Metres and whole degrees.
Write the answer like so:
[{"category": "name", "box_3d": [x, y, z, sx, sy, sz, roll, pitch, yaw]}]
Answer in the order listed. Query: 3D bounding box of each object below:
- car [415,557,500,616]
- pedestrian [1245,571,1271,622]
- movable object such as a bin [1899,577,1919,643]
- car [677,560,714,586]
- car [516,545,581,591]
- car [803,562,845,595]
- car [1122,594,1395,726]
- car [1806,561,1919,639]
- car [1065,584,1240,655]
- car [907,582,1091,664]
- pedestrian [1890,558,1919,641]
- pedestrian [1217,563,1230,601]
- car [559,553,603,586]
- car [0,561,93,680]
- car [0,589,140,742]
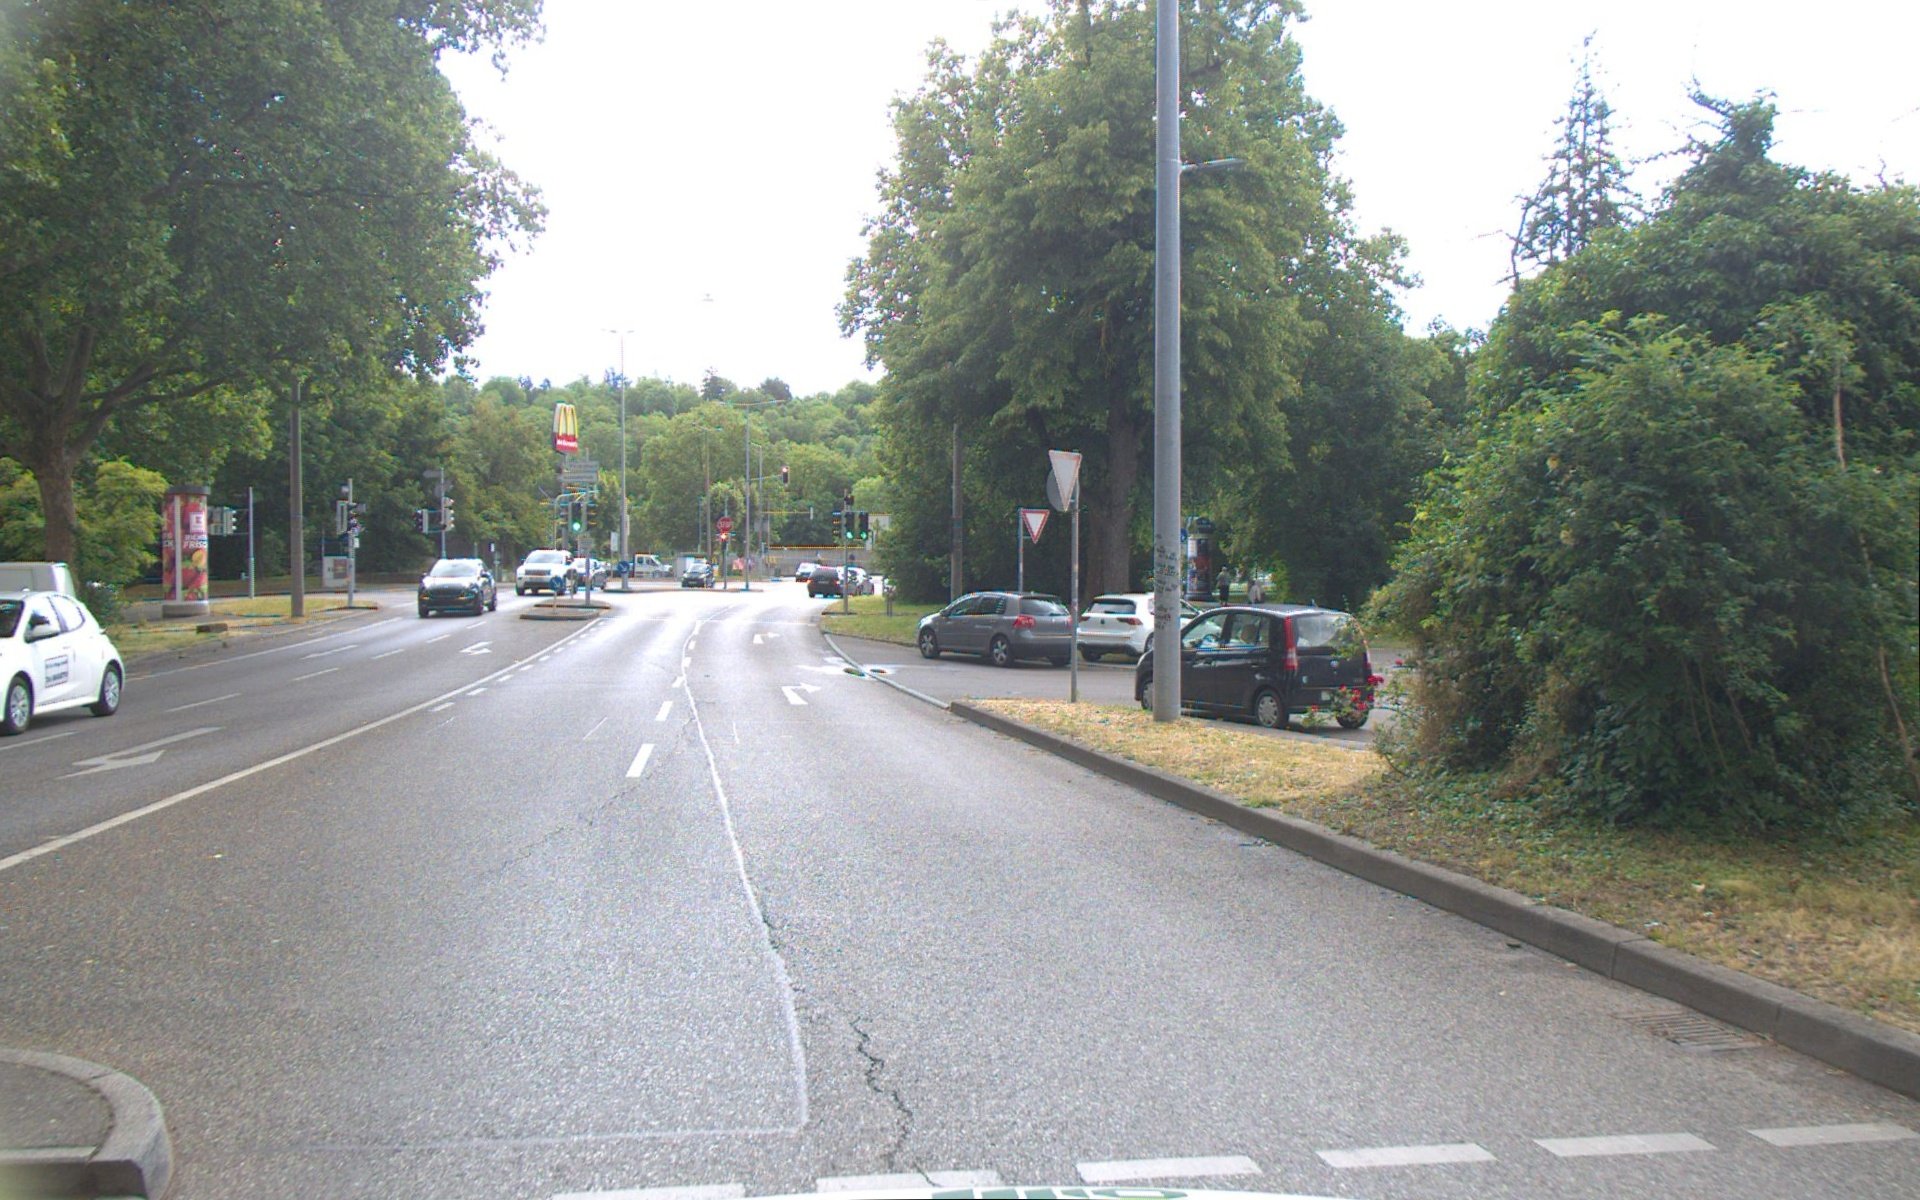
[{"category": "car", "box_3d": [-15.372, -0.467, 50.782, 1.763, 1.614, 4.407, -3, 2, -8]}, {"category": "pedestrian", "box_3d": [9.293, -0.109, 51.596, 0.670, 1.578, 0.742, 0, 1, -3]}, {"category": "movable object such as a bin", "box_3d": [20.501, 0.205, 34.545, 1.192, 1.368, 0.995, -1, 0, -2]}, {"category": "car", "box_3d": [-16.278, -1.669, 102.023, 1.535, 1.553, 3.192, 0, 2, 4]}, {"category": "car", "box_3d": [-16.937, -1.349, 68.248, 1.874, 1.794, 4.747, -1, 2, -6]}, {"category": "car", "box_3d": [-6.581, -1.044, 80.472, 1.786, 1.535, 4.573, 0, 1, -2]}, {"category": "car", "box_3d": [3.703, 0.688, 21.028, 1.552, 1.428, 3.459, -1, 2, -30]}, {"category": "car", "box_3d": [20.750, -0.018, 36.485, 3.341, 1.659, 1.625, -1, 0, 4]}, {"category": "car", "box_3d": [4.247, 0.382, 35.941, 1.732, 1.404, 4.238, 1, 2, 40]}, {"category": "car", "box_3d": [0.754, 0.430, 34.546, 1.715, 1.453, 4.059, -1, 3, -37]}, {"category": "pedestrian", "box_3d": [20.541, -0.018, 35.597, 0.673, 1.759, 0.611, -1, 0, -3]}, {"category": "pedestrian", "box_3d": [11.124, -0.764, 69.778, 0.499, 1.558, 0.778, 0, 1, 7]}, {"category": "car", "box_3d": [-17.908, -1.484, 78.254, 1.538, 1.406, 3.946, -1, 3, -6]}, {"category": "car", "box_3d": [-17.868, 0.419, 28.208, 5.152, 1.964, 2.071, -3, 2, -21]}, {"category": "car", "box_3d": [-10.573, 0.655, 18.051, 1.730, 1.492, 4.013, -2, 1, -9]}]
